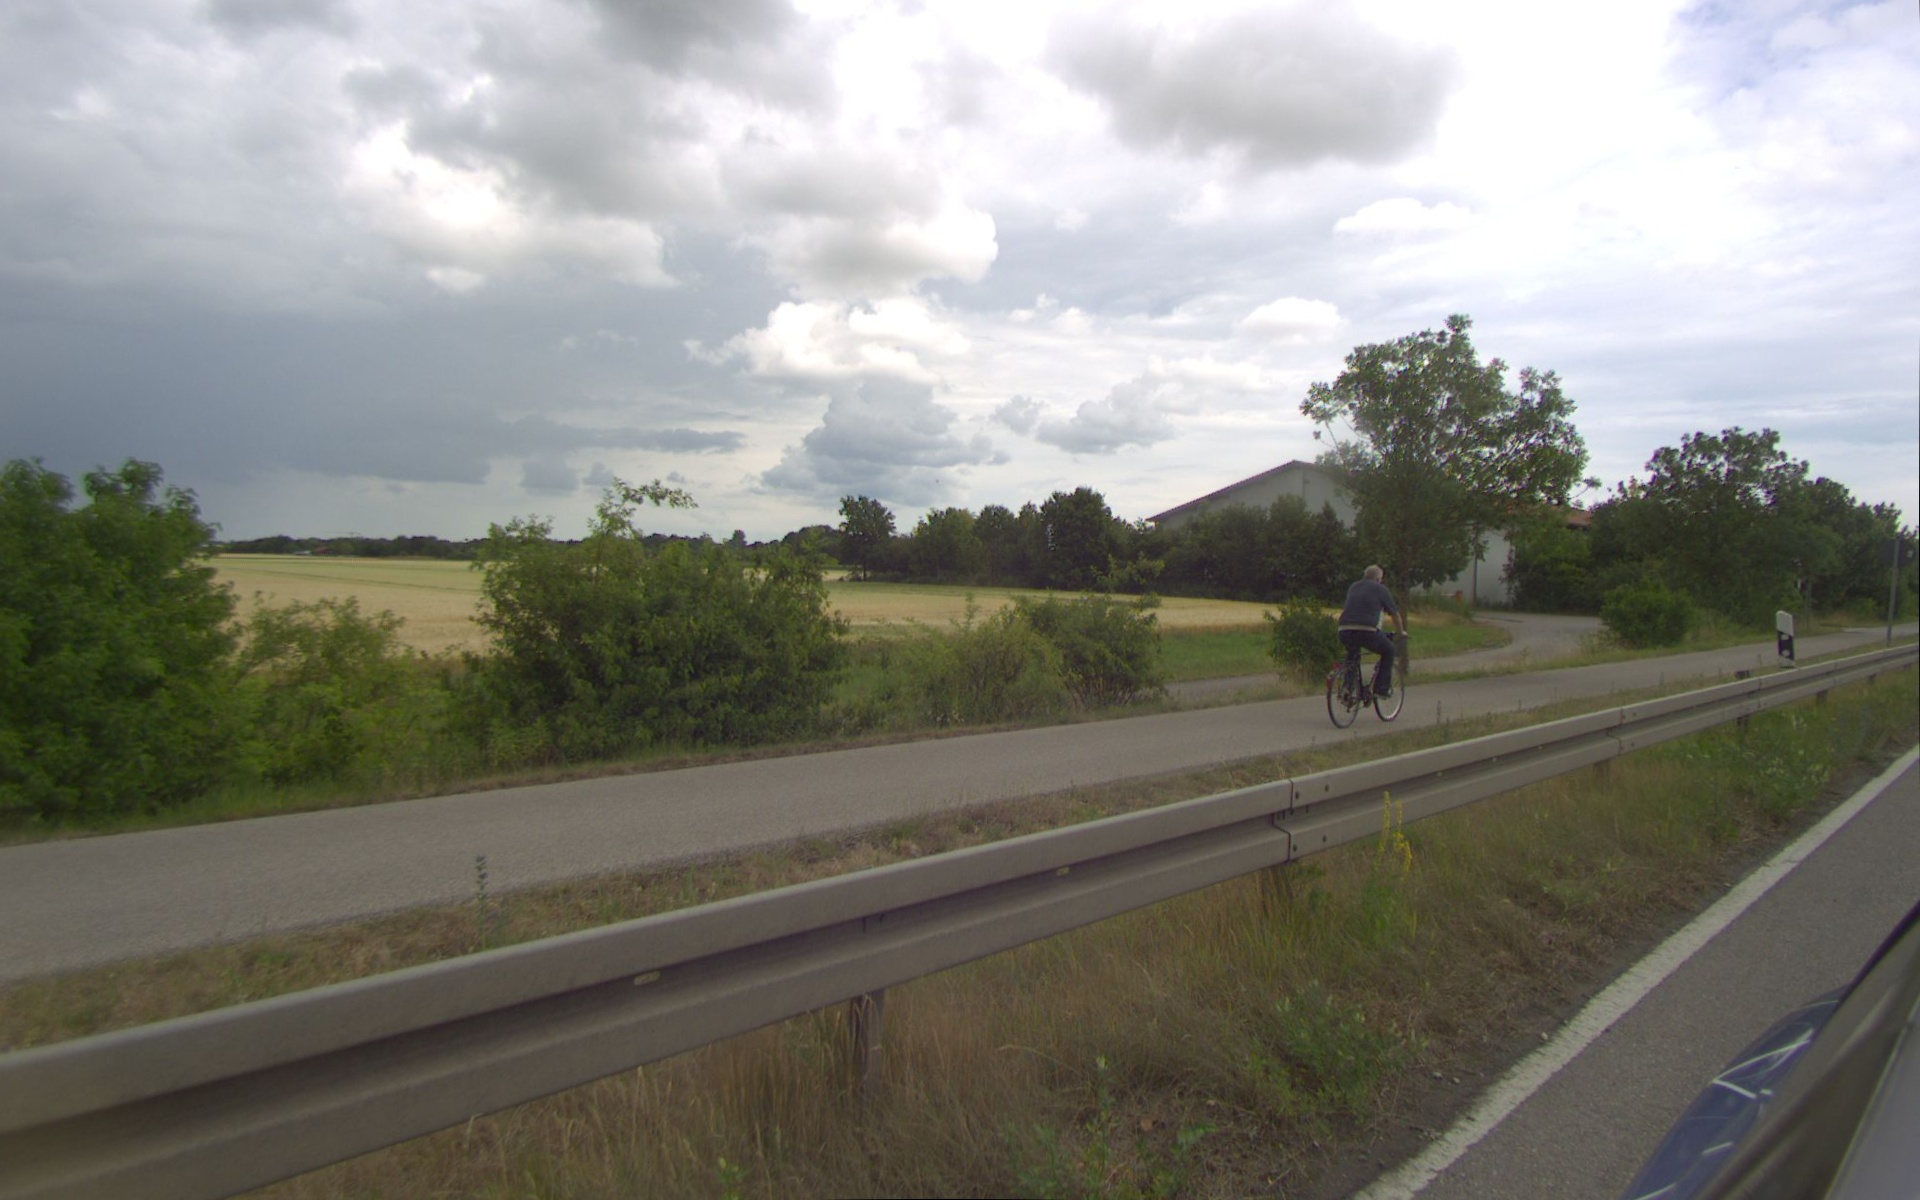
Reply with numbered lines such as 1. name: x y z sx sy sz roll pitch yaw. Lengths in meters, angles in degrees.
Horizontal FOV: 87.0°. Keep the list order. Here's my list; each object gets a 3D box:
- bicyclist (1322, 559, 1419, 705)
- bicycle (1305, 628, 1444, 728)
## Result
1. bicyclist: 4.721 0.337 11.633 0.952 1.602 0.640 0 1 -41
2. bicycle: 4.843 0.862 11.754 2.036 0.990 0.640 0 2 -41
